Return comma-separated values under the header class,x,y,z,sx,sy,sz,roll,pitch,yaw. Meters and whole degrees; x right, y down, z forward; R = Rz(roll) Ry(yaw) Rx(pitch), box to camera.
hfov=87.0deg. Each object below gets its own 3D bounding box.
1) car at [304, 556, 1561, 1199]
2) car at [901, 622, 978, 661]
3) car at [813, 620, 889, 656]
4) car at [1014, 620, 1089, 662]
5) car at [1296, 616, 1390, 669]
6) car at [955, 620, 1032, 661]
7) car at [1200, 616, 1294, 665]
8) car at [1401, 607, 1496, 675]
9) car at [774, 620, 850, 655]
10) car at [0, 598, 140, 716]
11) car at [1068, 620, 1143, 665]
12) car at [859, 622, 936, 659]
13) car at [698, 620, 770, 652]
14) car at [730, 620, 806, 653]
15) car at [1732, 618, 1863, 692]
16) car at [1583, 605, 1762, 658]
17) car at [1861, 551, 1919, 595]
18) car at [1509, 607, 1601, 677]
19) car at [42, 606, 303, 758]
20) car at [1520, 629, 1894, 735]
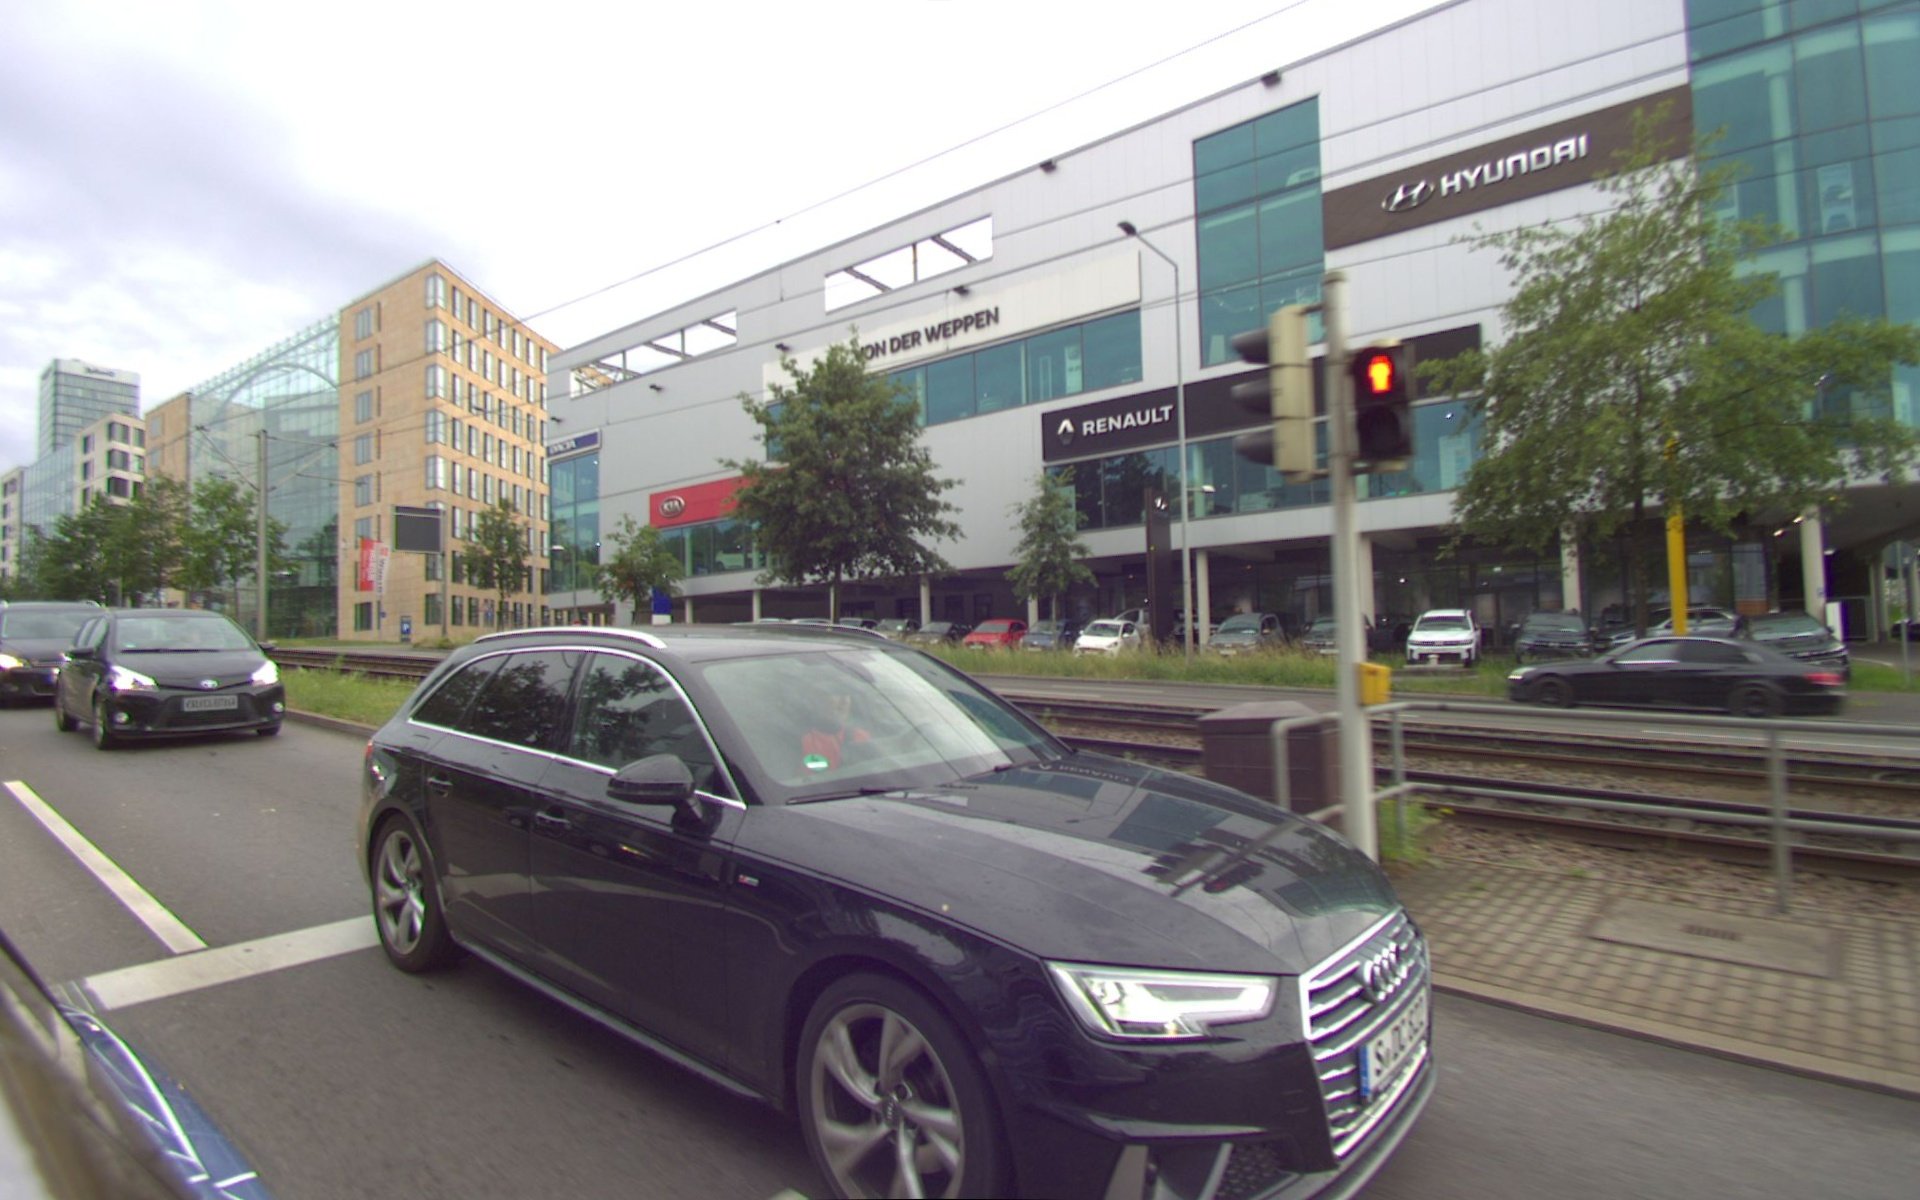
class,x,y,z,sx,sy,sz,roll,pitch,yaw
car,-0.685,0.714,3.817,4.826,1.445,1.771,-2,-2,41
car,-0.784,1.671,41.830,1.812,1.502,3.813,-1,-1,23
car,-4.851,1.688,45.426,1.812,1.502,3.813,-1,-1,23
car,3.541,1.545,38.698,1.812,1.502,3.813,-1,-1,23
car,11.786,1.254,30.982,1.819,1.502,3.954,-2,-1,34
car,1.384,1.571,40.135,1.812,1.502,3.813,-1,-1,23
car,9.502,1.294,33.335,1.819,1.502,3.954,-2,-1,34
car,14.192,1.122,29.279,1.917,1.674,3.954,-2,1,34
car,-6.864,1.725,47.203,1.812,1.502,3.813,-1,-1,23
car,-14.842,0.867,16.384,4.129,1.693,1.758,-2,-2,41
car,5.384,1.524,37.041,1.812,1.502,3.813,-1,-1,23
car,-2.637,1.709,43.646,1.812,1.502,3.813,-1,-1,23
car,-11.211,1.782,50.339,1.809,1.502,3.819,-1,-1,18
car,-9.177,1.750,48.730,1.812,1.502,3.813,-1,-1,23
car,19.878,1.243,24.190,1.891,1.519,3.956,-1,0,33
car,21.088,0.936,30.077,3.946,1.480,1.770,-1,-1,2
car,56.036,-1.573,60.353,2.741,2.513,5.420,-1,0,35
car,16.324,1.095,27.669,1.917,1.674,3.954,-2,0,34
car,-9.462,0.864,12.052,3.999,1.513,1.775,-2,-2,42
car,12.456,1.271,17.155,4.871,1.447,1.973,-1,0,41
